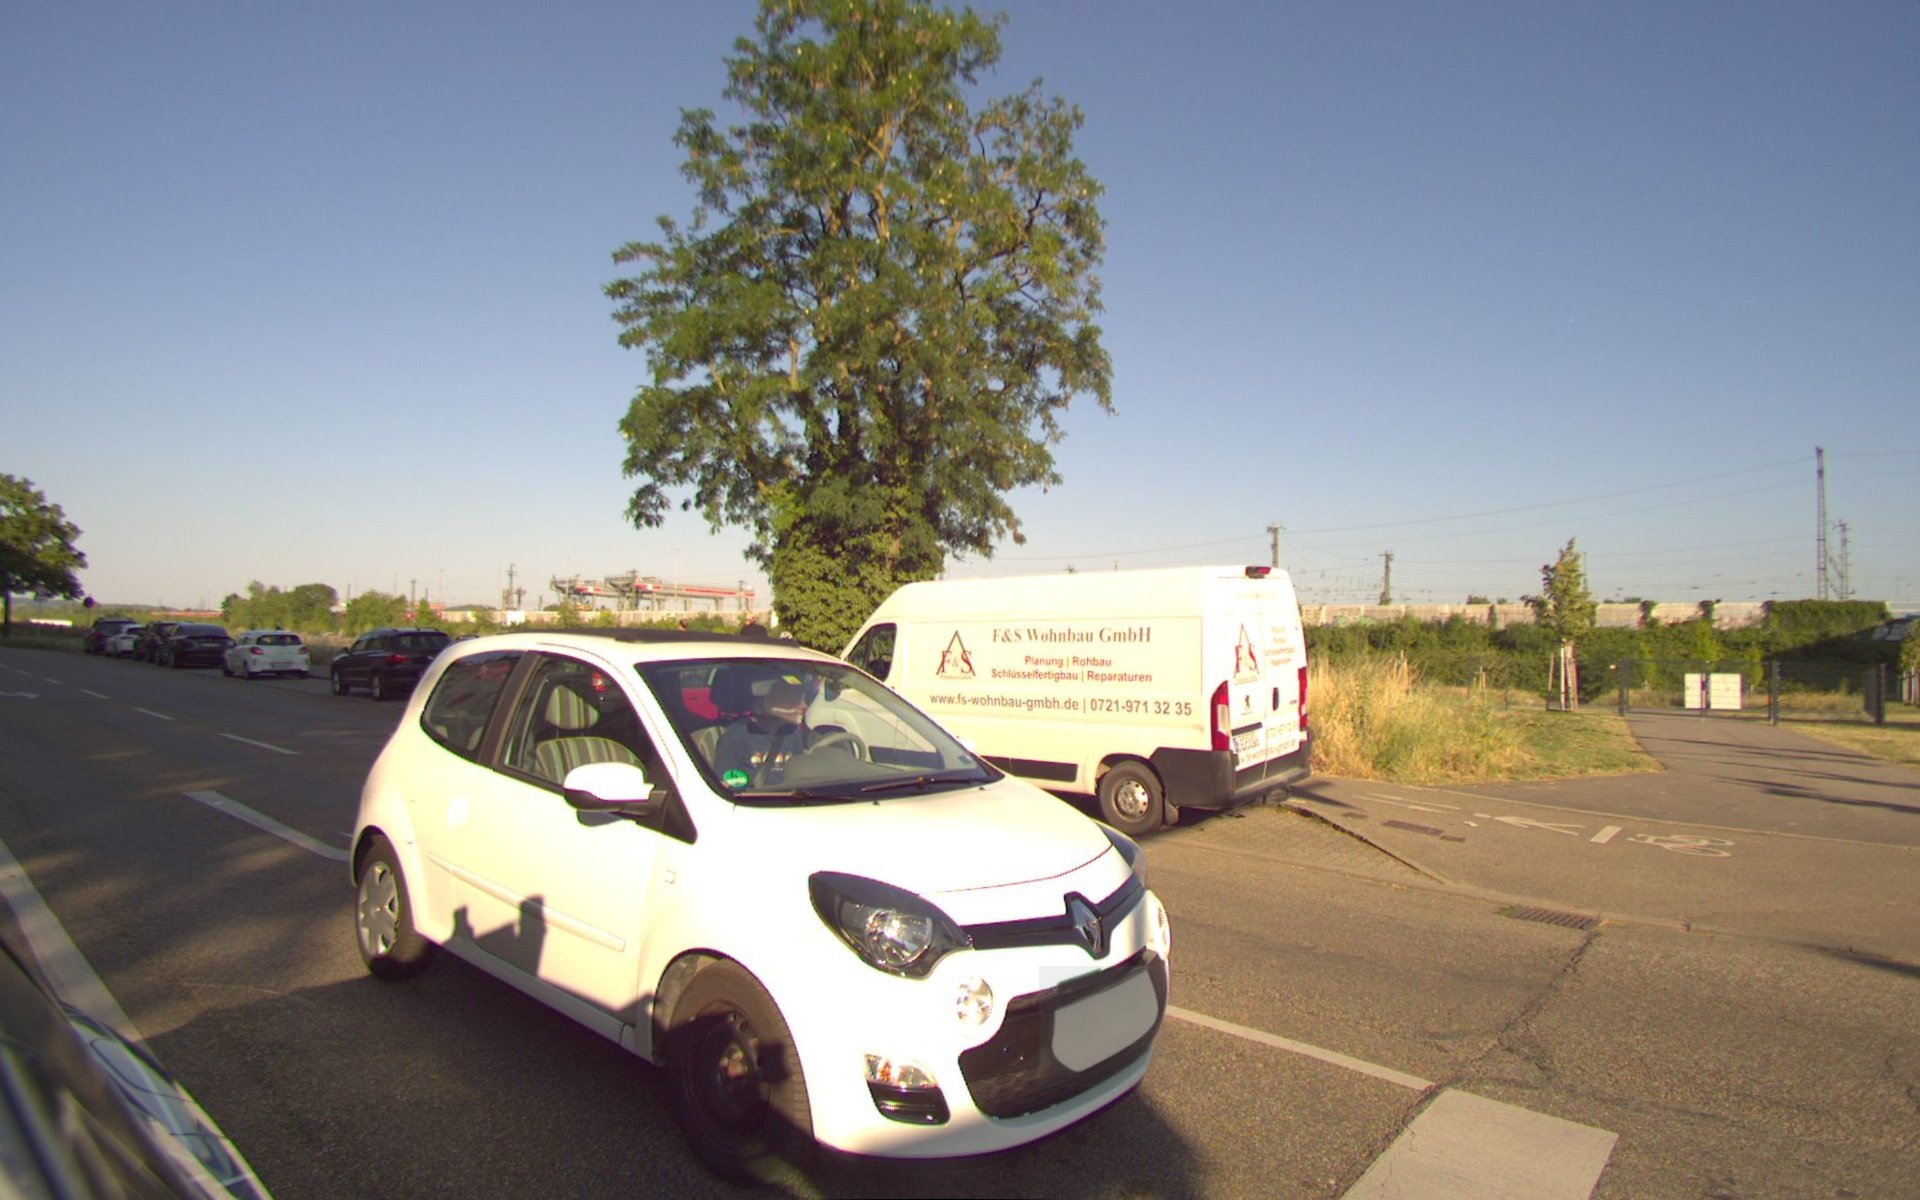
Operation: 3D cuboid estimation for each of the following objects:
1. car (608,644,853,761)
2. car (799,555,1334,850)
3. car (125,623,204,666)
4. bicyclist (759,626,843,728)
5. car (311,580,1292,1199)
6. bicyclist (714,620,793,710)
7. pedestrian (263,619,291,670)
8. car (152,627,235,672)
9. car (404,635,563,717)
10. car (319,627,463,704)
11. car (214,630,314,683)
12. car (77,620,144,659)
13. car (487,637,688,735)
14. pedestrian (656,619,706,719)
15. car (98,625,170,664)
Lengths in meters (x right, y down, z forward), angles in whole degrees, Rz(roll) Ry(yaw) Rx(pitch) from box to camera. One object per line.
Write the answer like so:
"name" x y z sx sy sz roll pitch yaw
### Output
"car" -3.551 1.471 15.396 3.692 1.498 1.723 -1 -4 40
"car" 0.926 0.892 11.082 5.556 2.455 2.207 -1 -1 40
"car" -32.382 1.808 41.152 4.219 1.650 1.799 -1 -4 43
"bicyclist" -2.637 1.256 16.744 1.145 1.609 0.758 -1 -4 40
"car" -0.872 0.771 3.942 3.772 1.480 1.683 -1 -4 40
"bicyclist" -3.856 1.199 18.940 1.144 1.609 0.856 -1 -4 37
"pedestrian" -27.741 1.797 41.086 0.710 2.029 0.697 -1 -4 42
"car" -28.234 1.811 37.230 1.798 1.538 4.292 5 -4 -45
"car" -10.016 1.543 21.197 3.577 1.541 1.642 -1 -4 40
"car" -13.598 1.522 24.116 4.003 1.672 1.642 -1 -4 40
"car" -21.559 1.727 31.293 3.582 1.538 1.684 -1 -4 42
"car" -40.839 1.890 48.611 4.219 1.789 1.866 -1 -4 43
"car" -6.801 1.492 18.318 3.814 1.541 1.723 -1 -4 40
"pedestrian" -5.829 1.427 21.154 0.729 2.029 0.608 -1 -4 39
"car" -36.469 1.947 44.663 4.219 1.586 1.799 -1 -4 43
